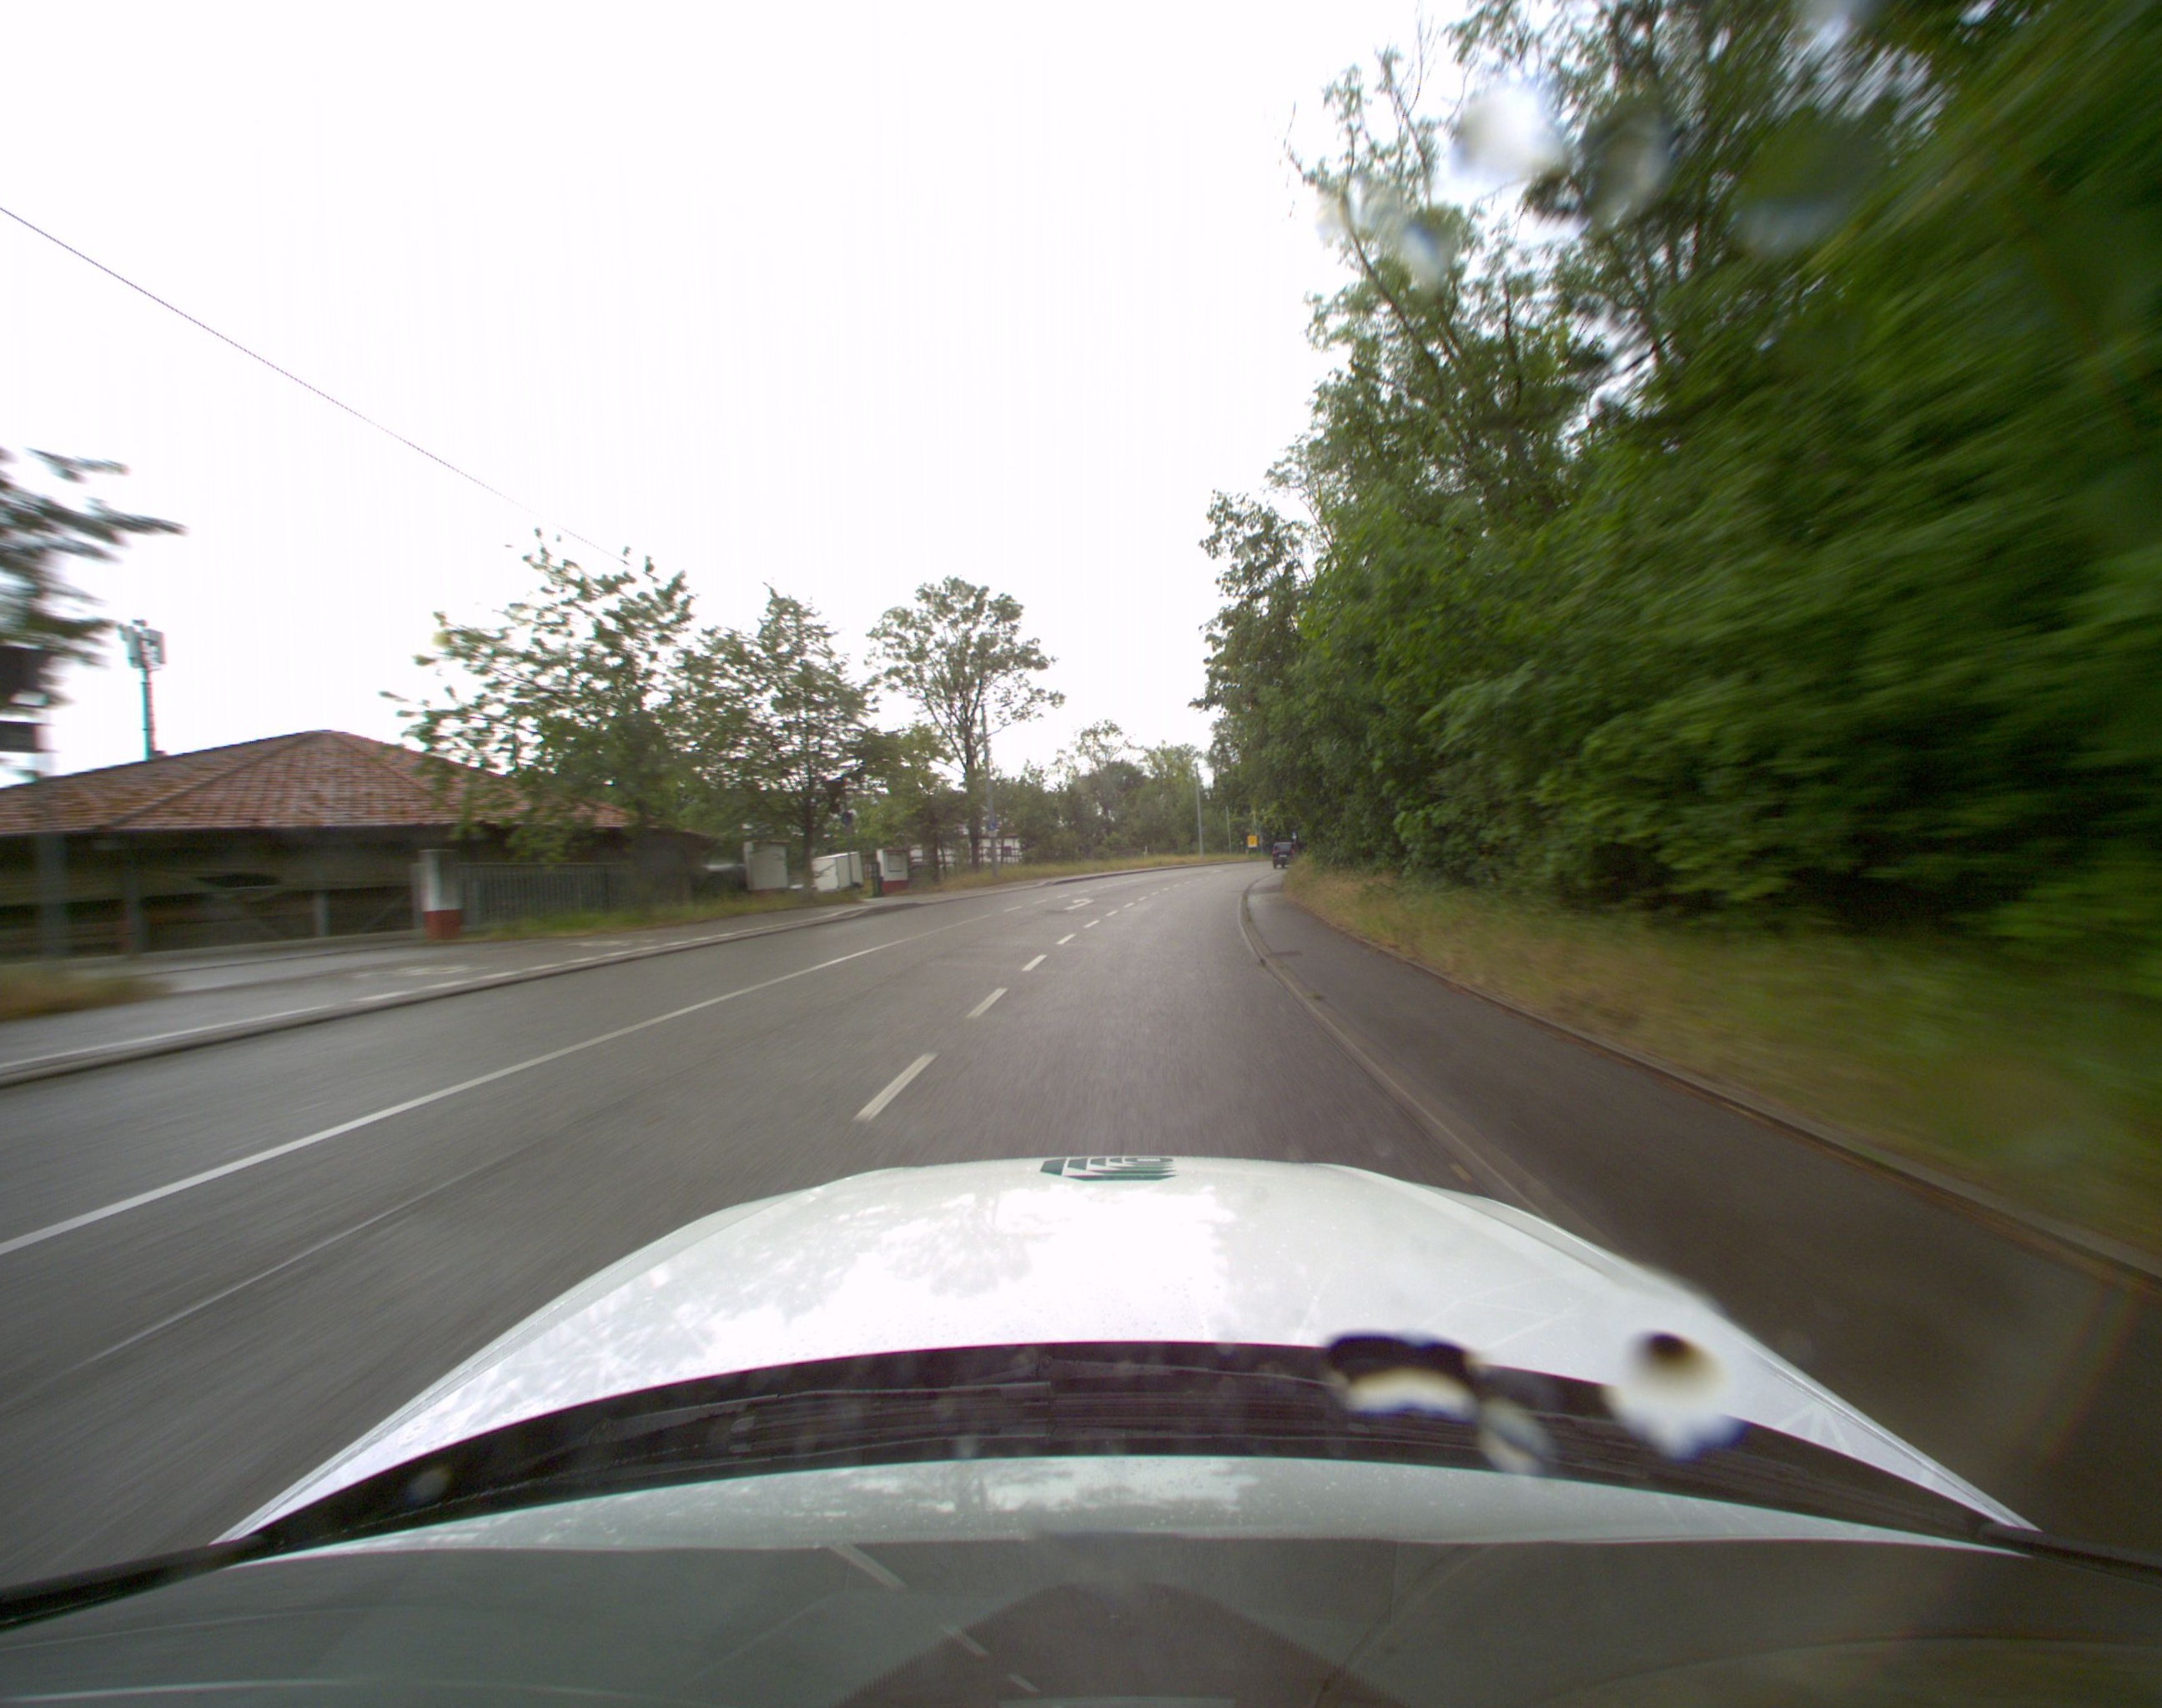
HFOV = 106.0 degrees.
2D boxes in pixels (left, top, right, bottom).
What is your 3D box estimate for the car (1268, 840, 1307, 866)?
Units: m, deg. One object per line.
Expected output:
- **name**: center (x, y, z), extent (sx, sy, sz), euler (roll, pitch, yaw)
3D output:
- **car**: center (14.971, -0.093, 58.835), extent (1.810, 1.794, 4.024), euler (-1, -1, 28)
